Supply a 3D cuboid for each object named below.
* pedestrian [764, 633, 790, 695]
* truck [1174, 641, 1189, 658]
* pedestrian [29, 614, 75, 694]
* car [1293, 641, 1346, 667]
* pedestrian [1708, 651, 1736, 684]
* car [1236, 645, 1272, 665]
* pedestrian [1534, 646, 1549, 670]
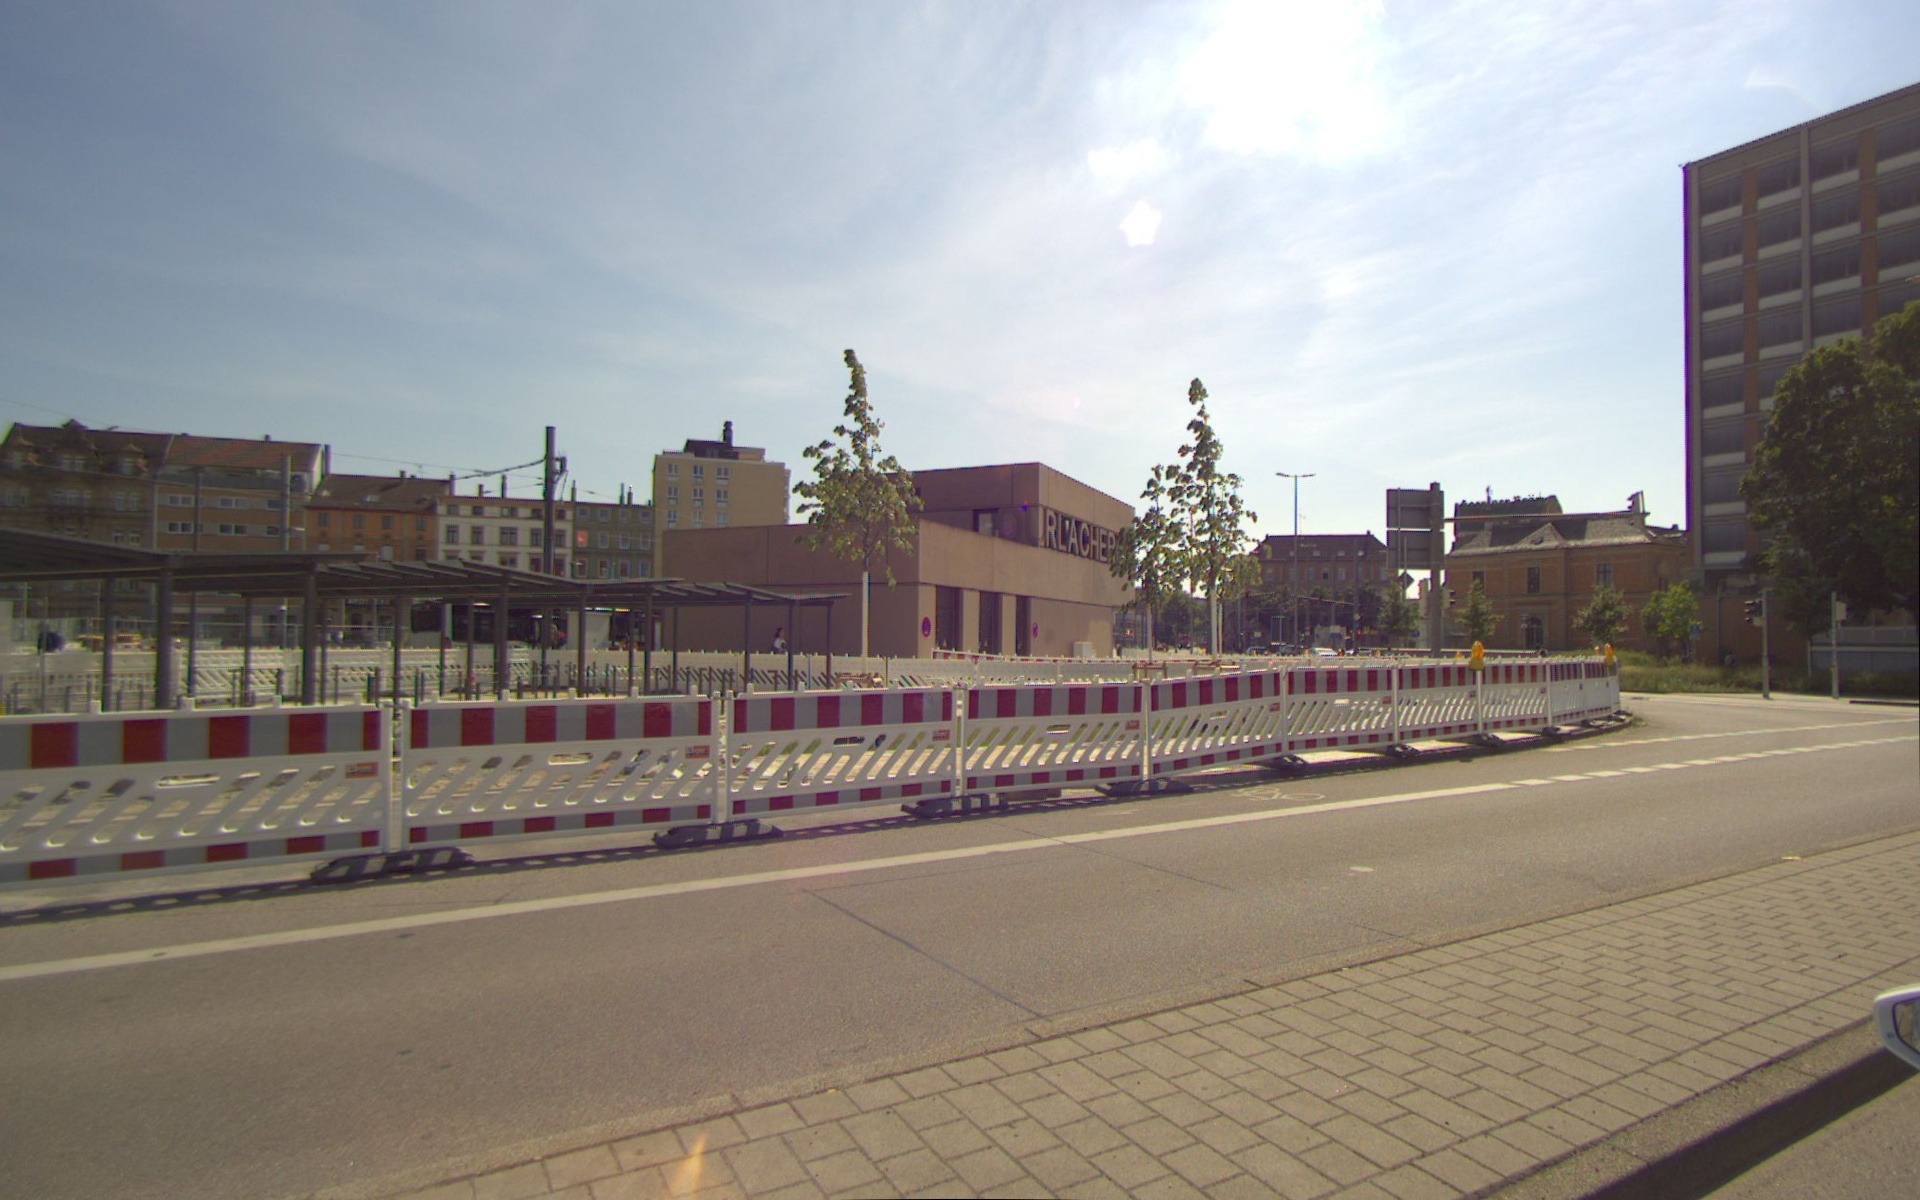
[{"bbox_3d":[-4.794,1.671,26.355,0.416,1.585,0.557,-1,-2,28],"label":"pedestrian"},{"bbox_3d":[51.709,11.535,235.033,3.011,3.779,7.937,0,-2,10],"label":"truck"},{"bbox_3d":[-23.509,1.385,26.018,0.807,2.040,0.684,-1,-3,35],"label":"pedestrian"},{"bbox_3d":[25.949,3.869,72.633,1.963,1.839,3.996,1,-2,-7],"label":"car"},{"bbox_3d":[40.020,3.538,52.750,0.857,1.748,0.799,1,-2,-7],"label":"pedestrian"},{"bbox_3d":[23.424,4.389,80.116,1.764,1.530,4.001,1,-2,1],"label":"car"},{"bbox_3d":[41.842,4.159,72.245,0.637,1.683,0.650,2,0,-3],"label":"pedestrian"}]
